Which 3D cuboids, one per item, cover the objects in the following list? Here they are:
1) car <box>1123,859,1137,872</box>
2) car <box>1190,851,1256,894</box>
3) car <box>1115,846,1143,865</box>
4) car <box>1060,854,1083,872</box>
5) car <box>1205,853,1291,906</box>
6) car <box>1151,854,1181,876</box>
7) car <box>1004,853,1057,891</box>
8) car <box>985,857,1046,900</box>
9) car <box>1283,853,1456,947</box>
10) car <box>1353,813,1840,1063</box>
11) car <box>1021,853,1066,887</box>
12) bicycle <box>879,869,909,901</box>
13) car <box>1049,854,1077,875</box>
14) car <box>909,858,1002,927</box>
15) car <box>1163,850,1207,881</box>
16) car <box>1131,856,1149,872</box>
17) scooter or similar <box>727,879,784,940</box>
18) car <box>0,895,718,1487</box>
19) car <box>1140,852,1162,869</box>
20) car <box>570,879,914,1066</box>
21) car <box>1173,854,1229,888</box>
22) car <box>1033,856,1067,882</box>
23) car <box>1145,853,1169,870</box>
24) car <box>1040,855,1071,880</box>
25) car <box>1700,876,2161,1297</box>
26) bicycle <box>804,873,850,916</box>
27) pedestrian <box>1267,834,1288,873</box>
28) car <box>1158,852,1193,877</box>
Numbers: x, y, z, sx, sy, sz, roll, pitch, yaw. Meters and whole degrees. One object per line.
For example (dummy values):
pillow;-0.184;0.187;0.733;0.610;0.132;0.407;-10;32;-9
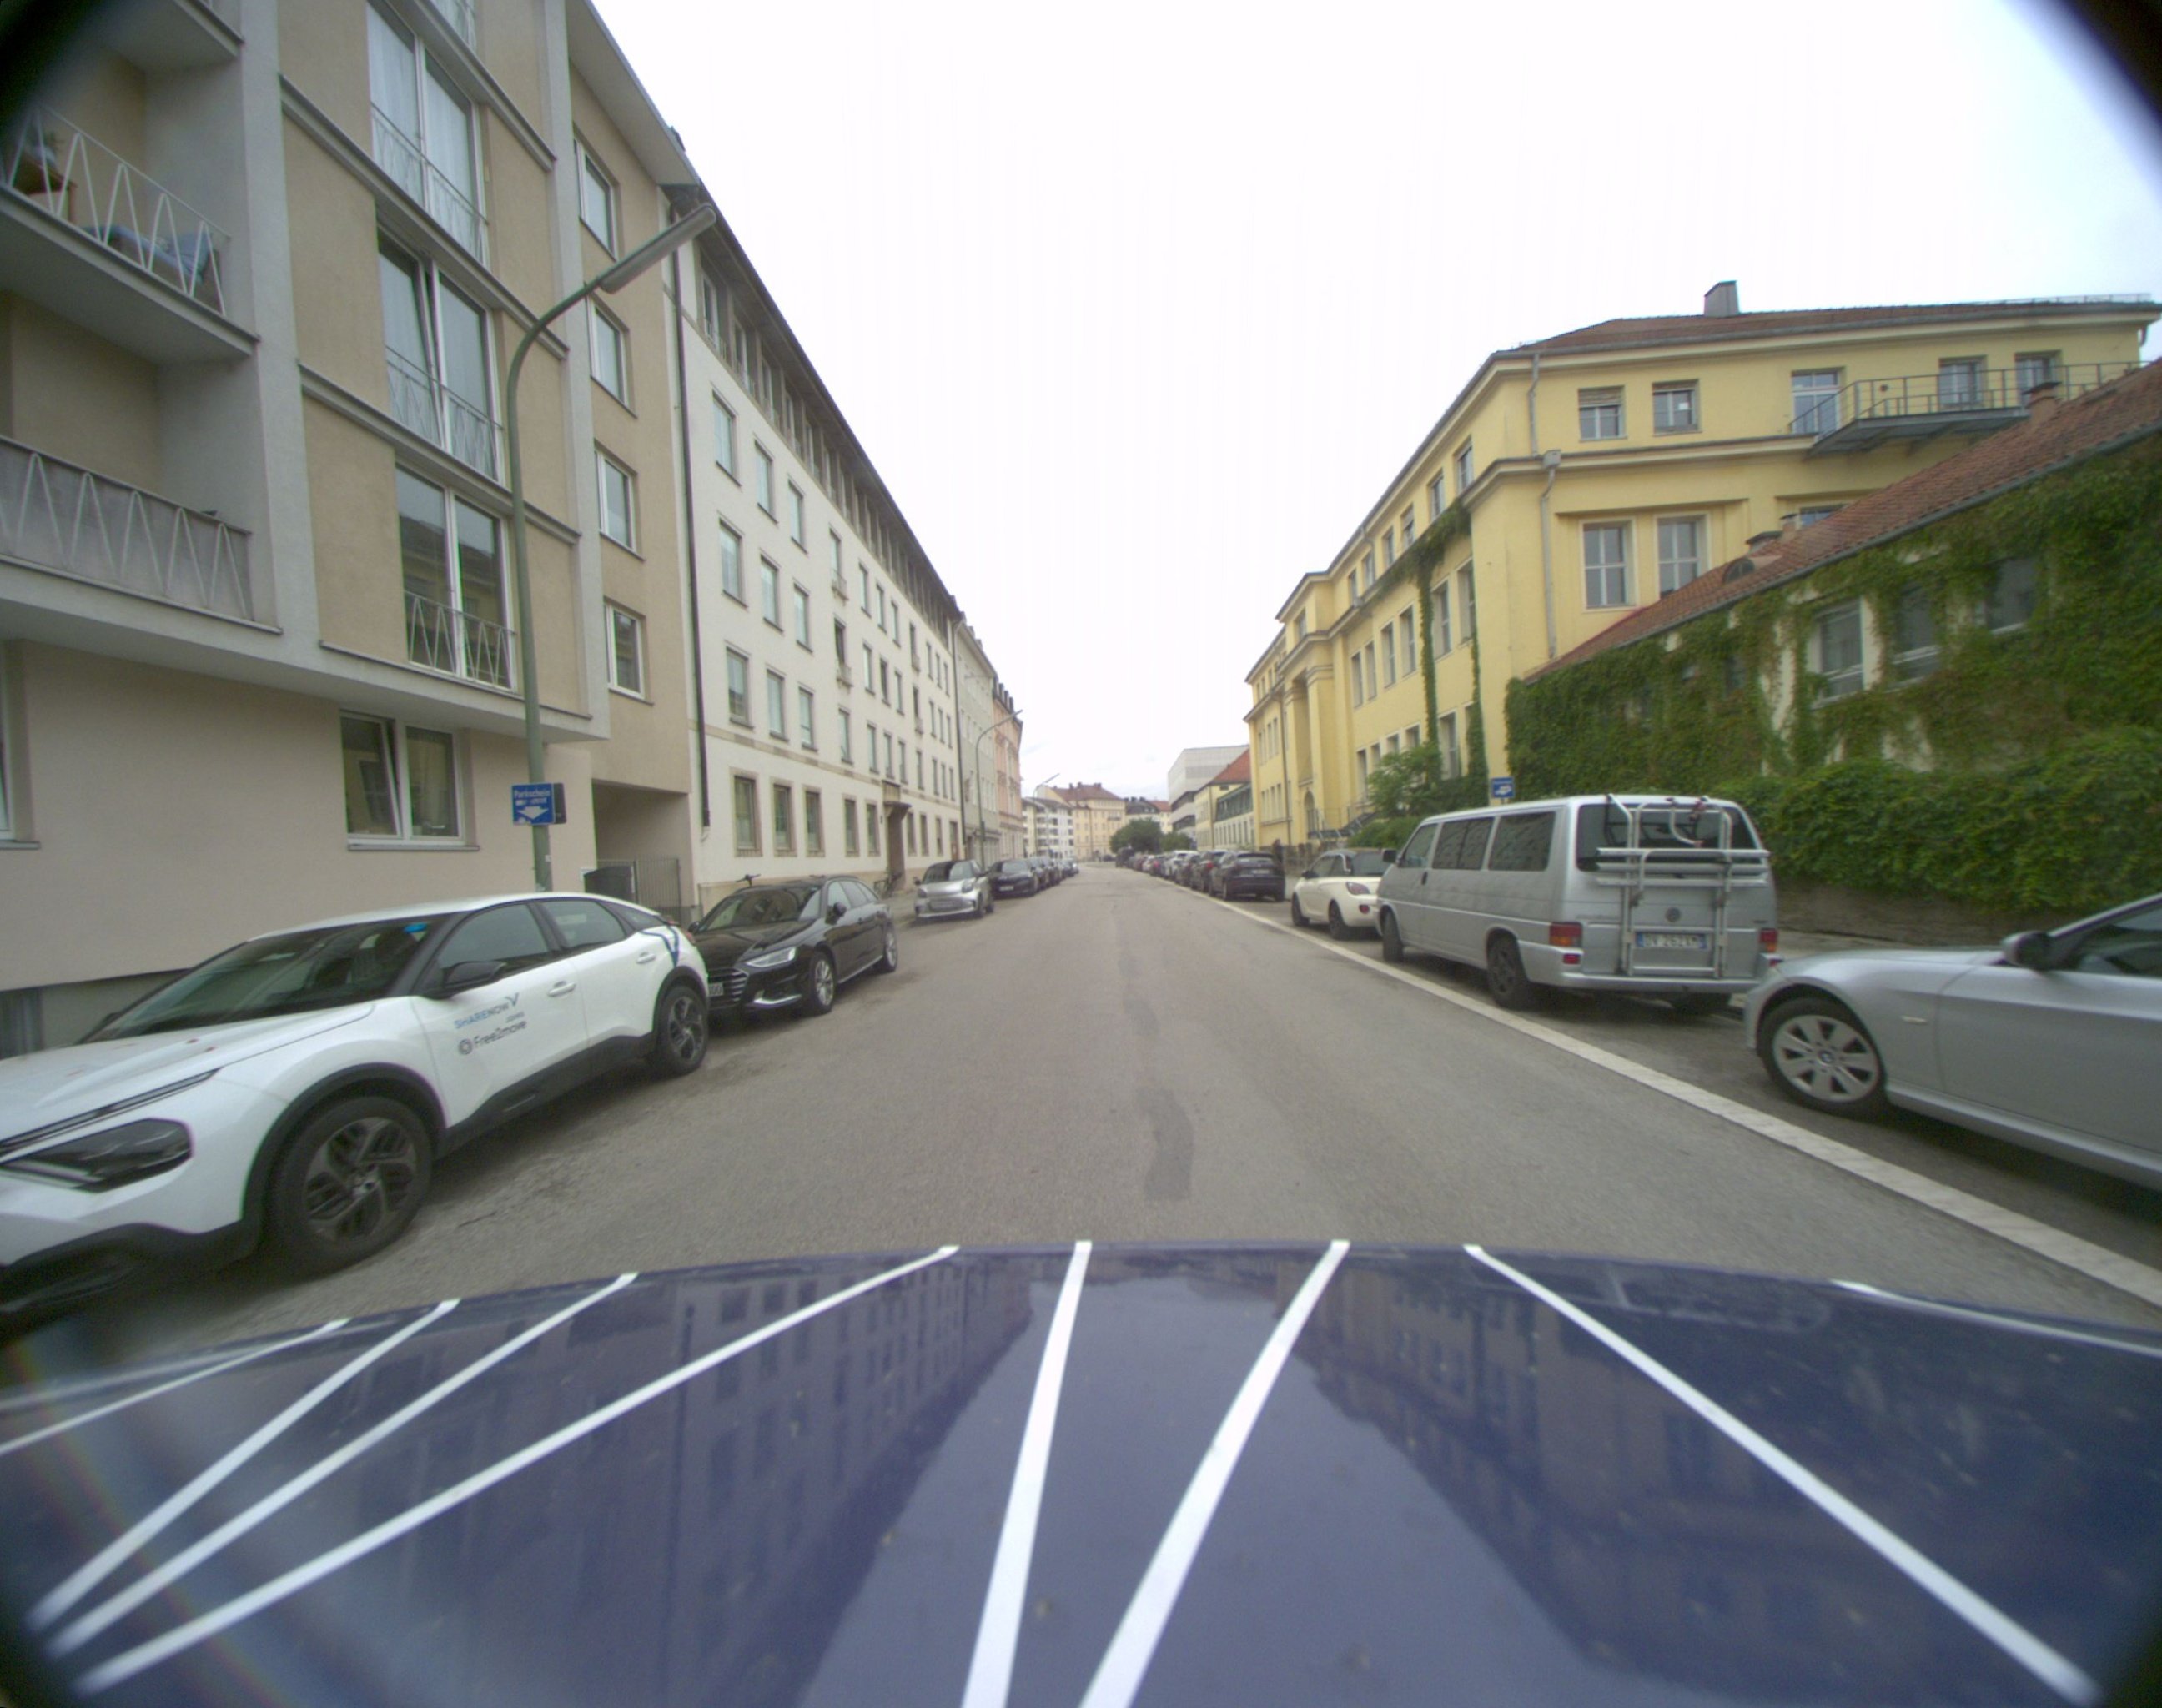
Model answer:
car;6.152;1.378;95.843;1.673;1.509;3.948;-2;0;2
car;5.247;0.646;28.574;1.774;1.494;4.273;0;0;1
car;6.719;0.196;107.423;2.848;2.536;6.890;-2;0;-4
car;-0.892;0.845;76.211;2.001;1.563;4.491;-5;0;2
car;5.027;0.709;23.428;1.721;1.472;4.220;1;0;0
car;5.798;0.728;52.235;1.738;1.431;3.780;0;0;2
car;-2.286;0.791;35.637;1.831;1.572;4.492;-4;0;3
car;-2.518;0.898;30.171;1.878;1.439;4.700;-4;0;1
car;4.790;0.692;13.163;1.671;1.401;3.559;0;0;1
car;4.660;0.613;8.035;1.897;1.788;4.881;2;0;2
car;-1.946;0.830;40.526;1.831;1.572;4.492;-4;0;3
bicycle;-6.913;1.133;28.133;0.599;1.073;2.040;0;0;1
car;-1.371;0.832;60.151;1.724;1.457;4.193;-5;0;3
car;-3.249;0.956;20.341;1.618;1.508;3.380;-7;0;3
car;5.689;0.601;42.040;1.786;1.631;4.299;1;0;-1
car;6.218;1.043;80.346;1.673;1.509;3.948;-2;0;2
scooter or similar;-7.393;1.241;17.316;0.731;1.267;1.095;-3;0;2
car;-3.948;1.182;4.243;1.706;1.460;4.119;-7;1;0
car;6.508;0.568;70.627;1.773;1.545;4.210;0;0;2
car;-3.529;1.133;9.038;1.831;1.373;4.491;-5;0;2
car;5.274;0.717;33.941;1.778;1.400;4.601;1;0;0
car;-1.885;0.889;47.786;1.745;1.421;4.182;-4;0;2
car;6.467;0.640;65.047;1.816;1.390;4.020;0;0;2
car;-1.755;0.892;53.794;1.768;1.531;4.000;-6;0;2
car;4.627;0.868;2.355;1.808;1.370;4.491;2;1;2
bicycle;-7.115;1.115;21.384;0.631;1.085;1.837;0;0;1
pedestrian;9.407;-0.006;36.424;0.776;1.813;0.782;-2;1;5
car;5.815;0.631;47.151;1.611;1.438;3.917;0;0;-1
